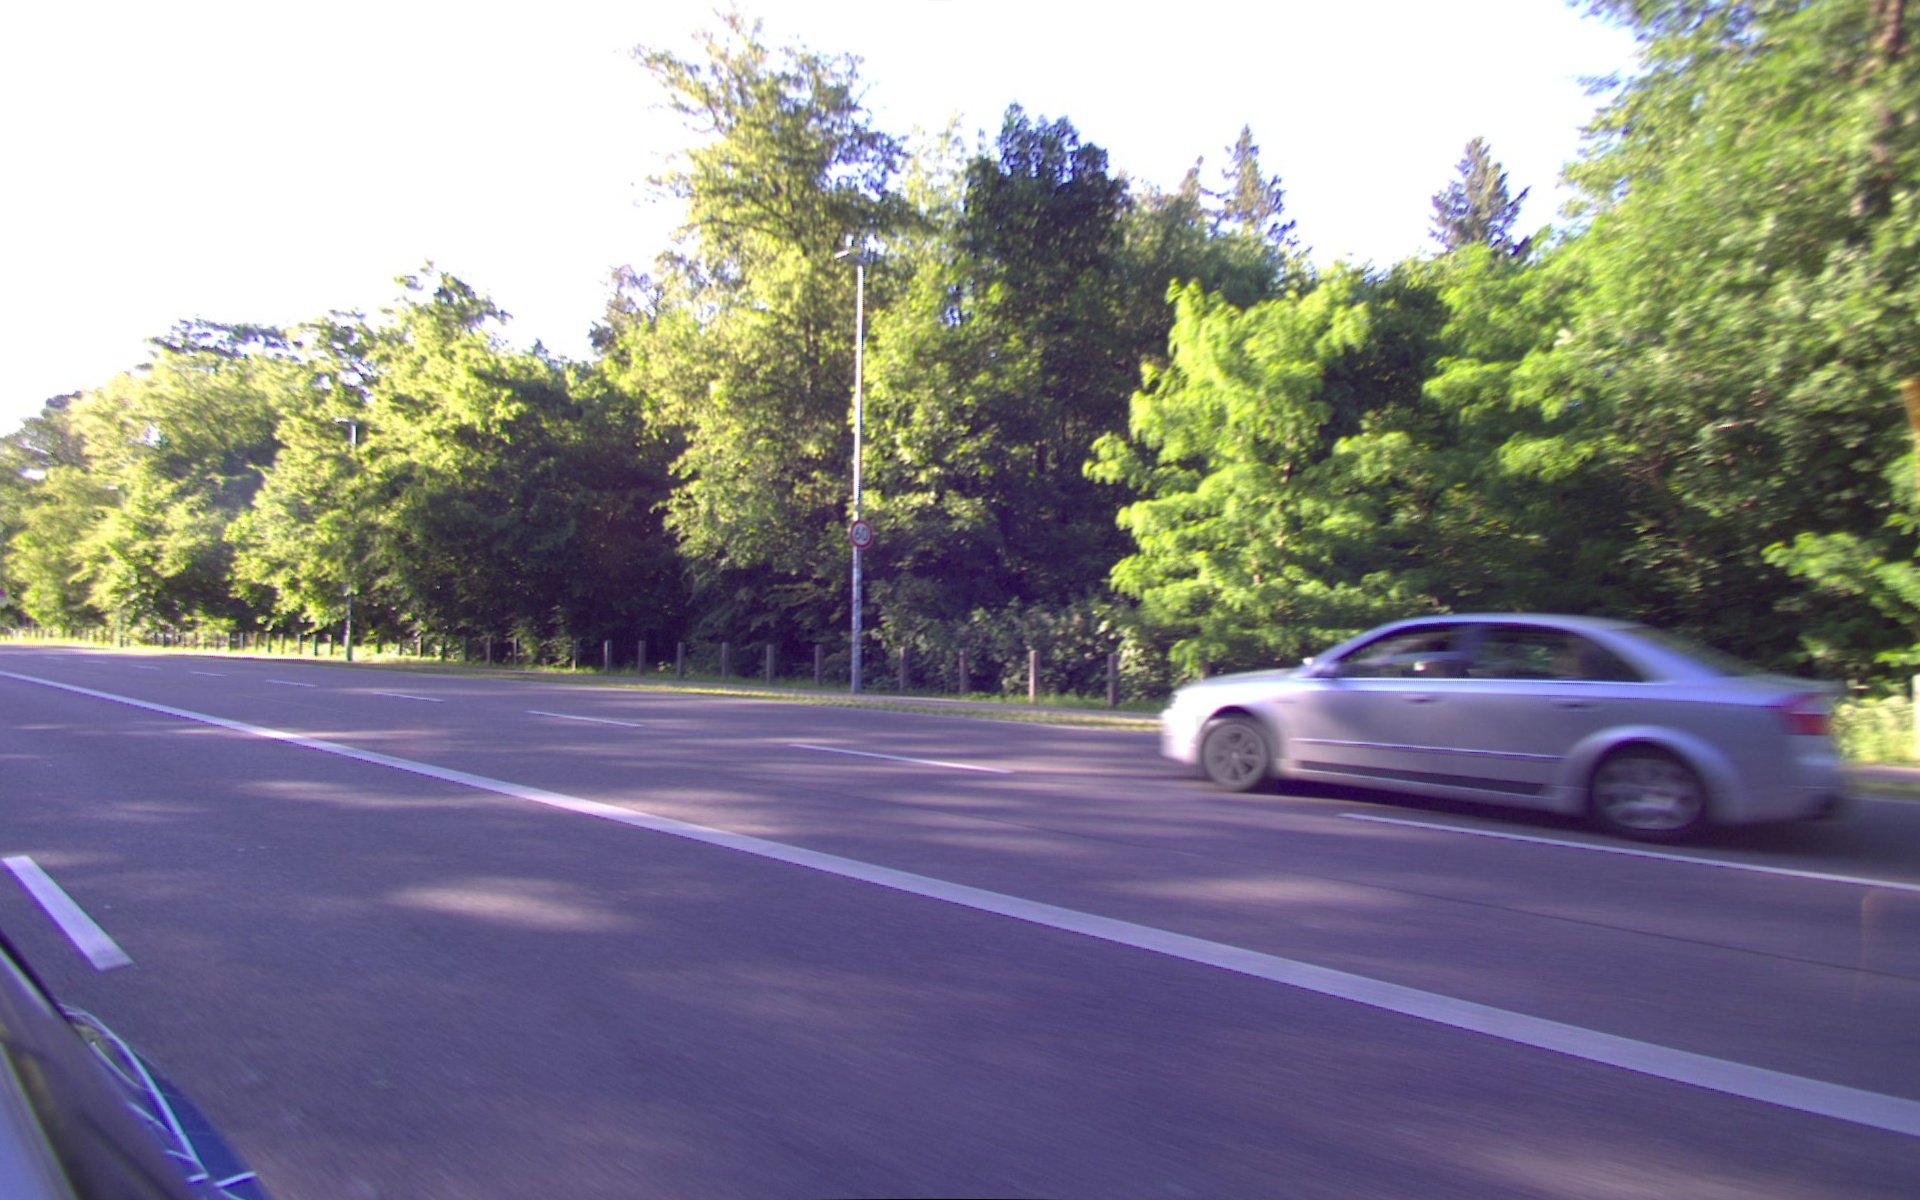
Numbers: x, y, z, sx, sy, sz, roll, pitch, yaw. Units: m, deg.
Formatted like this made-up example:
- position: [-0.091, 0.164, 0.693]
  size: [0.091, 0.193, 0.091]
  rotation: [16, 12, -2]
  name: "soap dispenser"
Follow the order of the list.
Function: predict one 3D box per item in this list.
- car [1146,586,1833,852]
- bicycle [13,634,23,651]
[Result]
- position: [3.650, 0.718, 7.455]
  size: [4.163, 1.419, 1.761]
  rotation: [-3, -3, 41]
  name: "car"
- position: [-65.289, 2.916, 70.122]
  size: [0.396, 1.140, 2.221]
  rotation: [-1, 0, -45]
  name: "bicycle"
